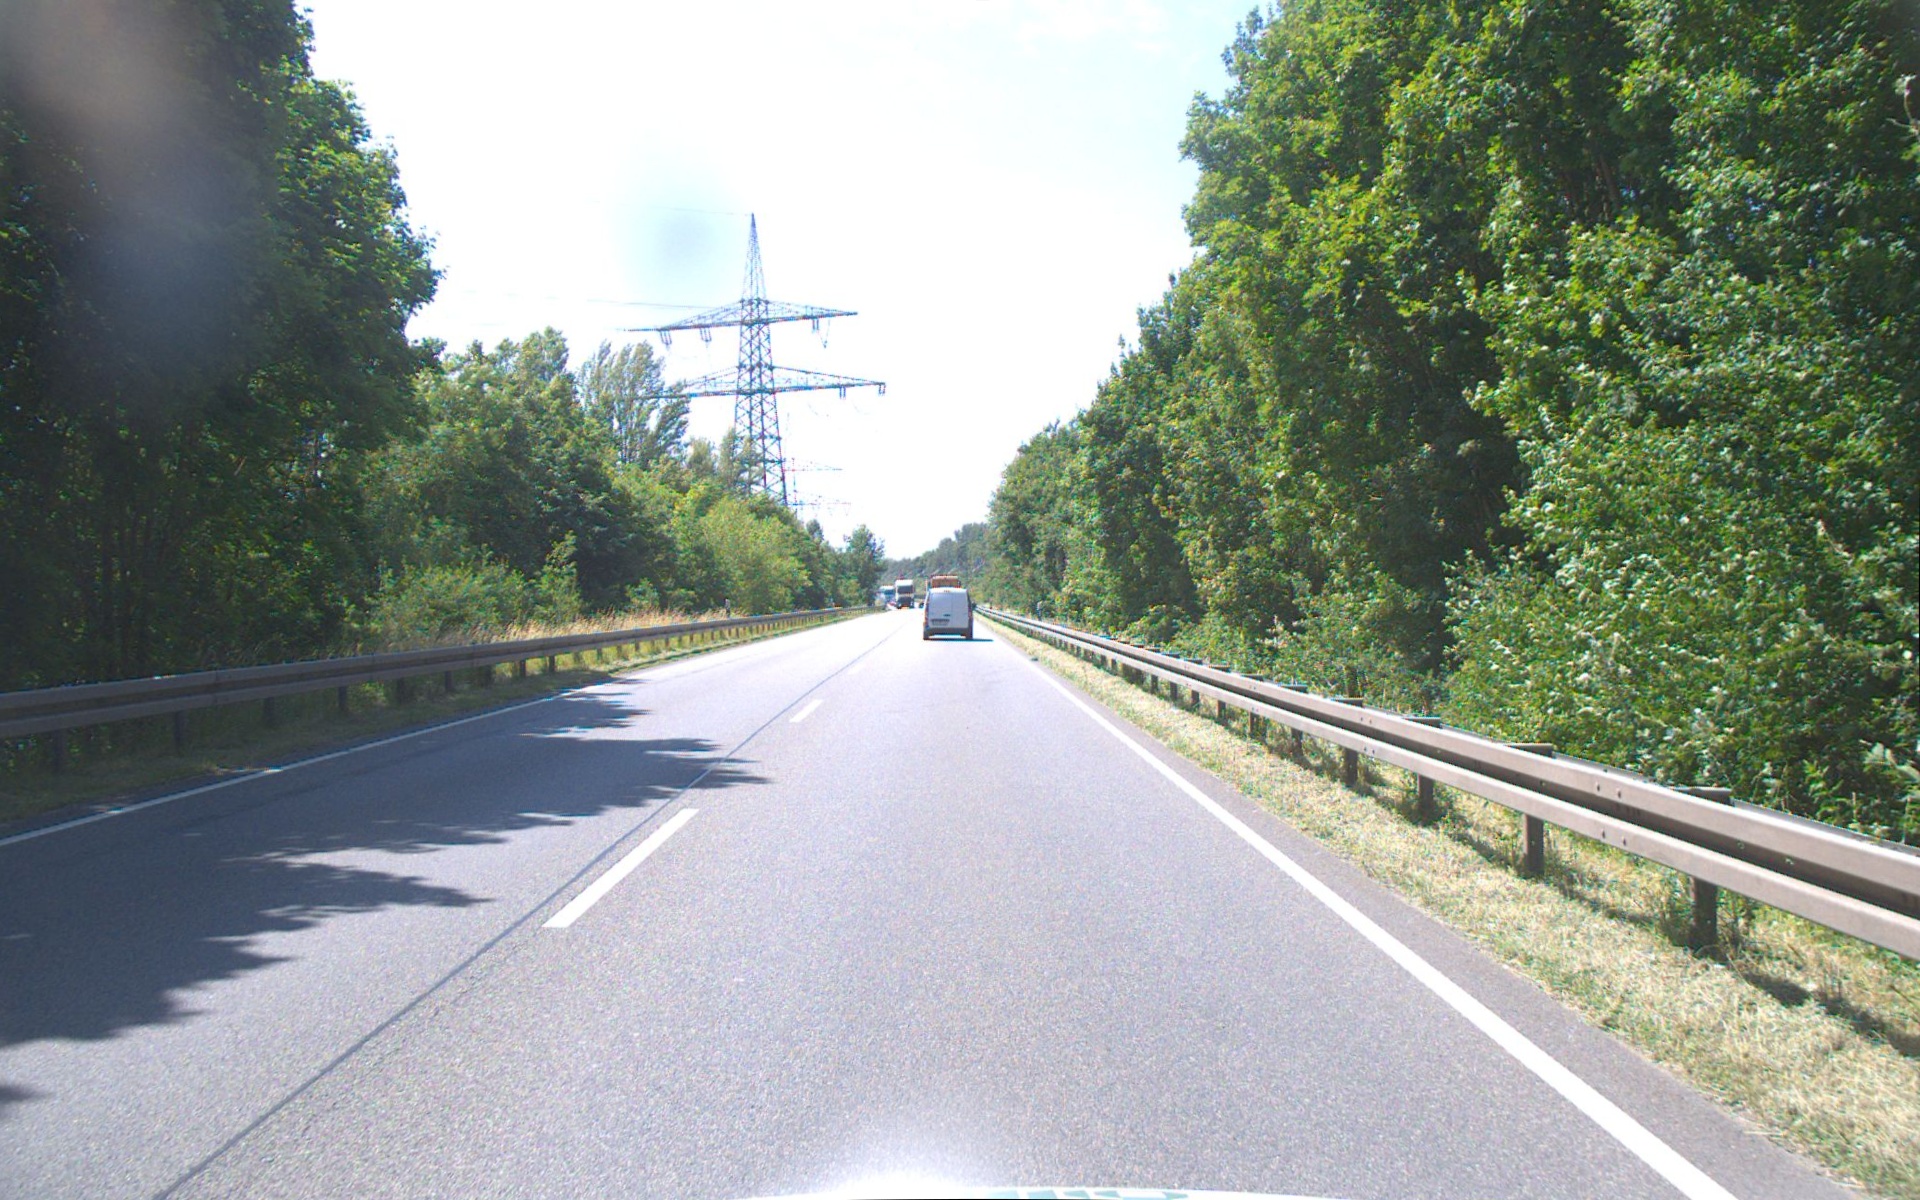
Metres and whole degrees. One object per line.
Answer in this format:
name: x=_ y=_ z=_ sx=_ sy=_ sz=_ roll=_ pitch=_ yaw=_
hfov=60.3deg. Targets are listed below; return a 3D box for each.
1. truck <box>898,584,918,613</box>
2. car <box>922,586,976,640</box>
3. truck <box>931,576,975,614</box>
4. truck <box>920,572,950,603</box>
truck: x=-7.424 y=-0.186 z=237.456 sx=2.707 sy=4.069 sz=5.906 roll=1 pitch=0 yaw=-1
car: x=-0.406 y=0.412 z=58.052 sx=1.837 sy=1.772 sz=3.999 roll=1 pitch=1 yaw=-1
truck: x=-0.684 y=-0.530 z=148.140 sx=3.231 sy=3.227 sz=14.397 roll=1 pitch=1 yaw=-3
truck: x=-3.408 y=-1.744 z=222.395 sx=3.334 sy=3.922 sz=16.809 roll=1 pitch=1 yaw=-3
